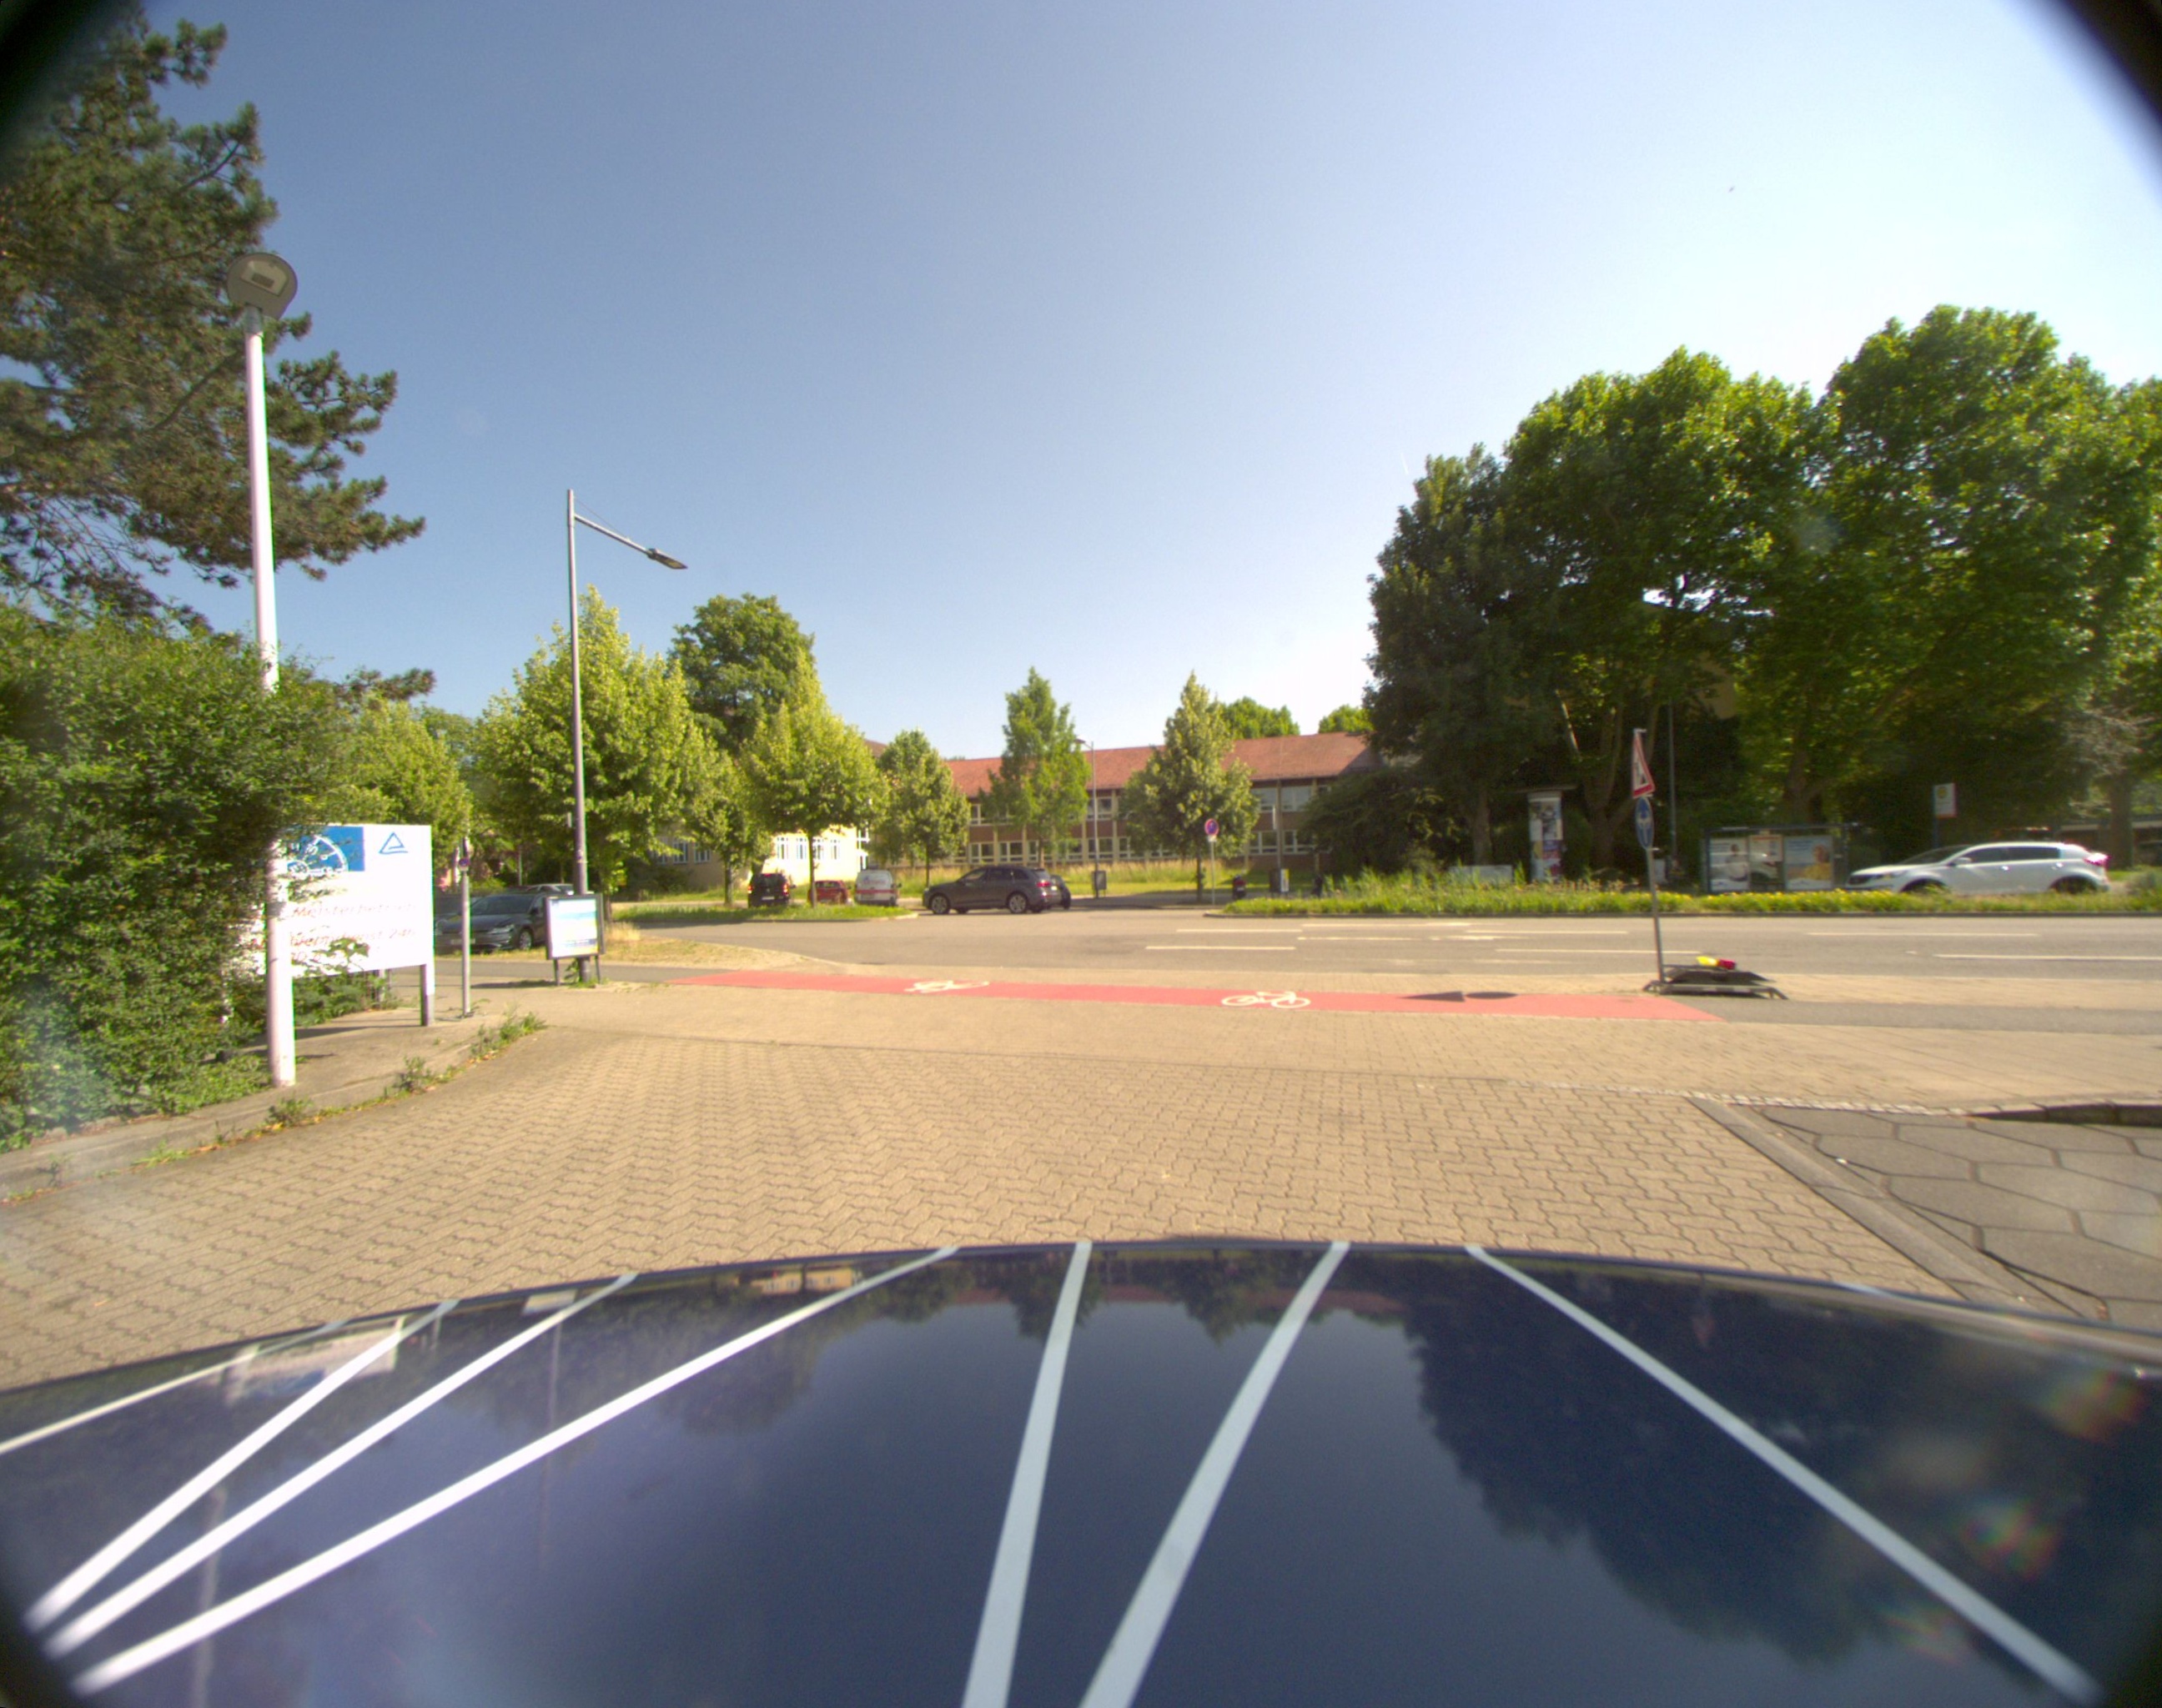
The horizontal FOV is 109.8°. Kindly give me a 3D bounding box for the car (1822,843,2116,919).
[{"bbox_3d":[22.094,0.686,19.185,4.381,1.758,2.003,-2,0,20],"label":"car"}]

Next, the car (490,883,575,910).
[{"bbox_3d":[-29.879,2.315,41.534,1.880,1.382,3.728,-1,-2,1],"label":"car"}]

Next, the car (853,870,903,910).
[{"bbox_3d":[-9.215,1.619,34.748,1.882,1.711,4.223,0,-2,-10],"label":"car"}]

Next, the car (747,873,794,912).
[{"bbox_3d":[-14.517,1.775,35.730,1.883,1.711,4.220,0,-2,-20],"label":"car"}]

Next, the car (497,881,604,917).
[{"bbox_3d":[-23.938,2.013,34.288,4.151,1.475,1.742,-2,0,17],"label":"car"}]

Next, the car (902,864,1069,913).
[{"bbox_3d":[-3.430,1.269,27.400,5.647,1.601,2.004,-2,-3,18],"label":"car"}]

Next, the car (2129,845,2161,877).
[{"bbox_3d":[58.415,0.333,39.997,1.865,1.679,4.007,-1,-2,20],"label":"car"}]

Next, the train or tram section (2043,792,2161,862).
[{"bbox_3d":[70.763,-1.746,49.038,2.323,4.463,15.949,-1,-1,18],"label":"train or tram section"}]

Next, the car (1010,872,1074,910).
[{"bbox_3d":[-1.725,1.562,32.143,1.743,1.450,4.221,-1,-2,-17],"label":"car"}]

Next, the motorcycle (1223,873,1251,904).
[{"bbox_3d":[5.989,1.298,29.241,0.557,1.107,1.758,-1,-1,-4],"label":"motorcycle"}]

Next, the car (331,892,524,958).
[{"bbox_3d":[-17.106,1.785,20.206,1.881,1.472,4.224,-1,-2,-8],"label":"car"}]

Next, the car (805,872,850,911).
[{"bbox_3d":[-11.900,1.741,35.469,1.883,1.711,4.220,0,-2,-20],"label":"car"}]

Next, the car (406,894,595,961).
[{"bbox_3d":[-14.158,1.724,18.895,1.881,1.408,4.225,-1,-2,-8],"label":"car"}]
